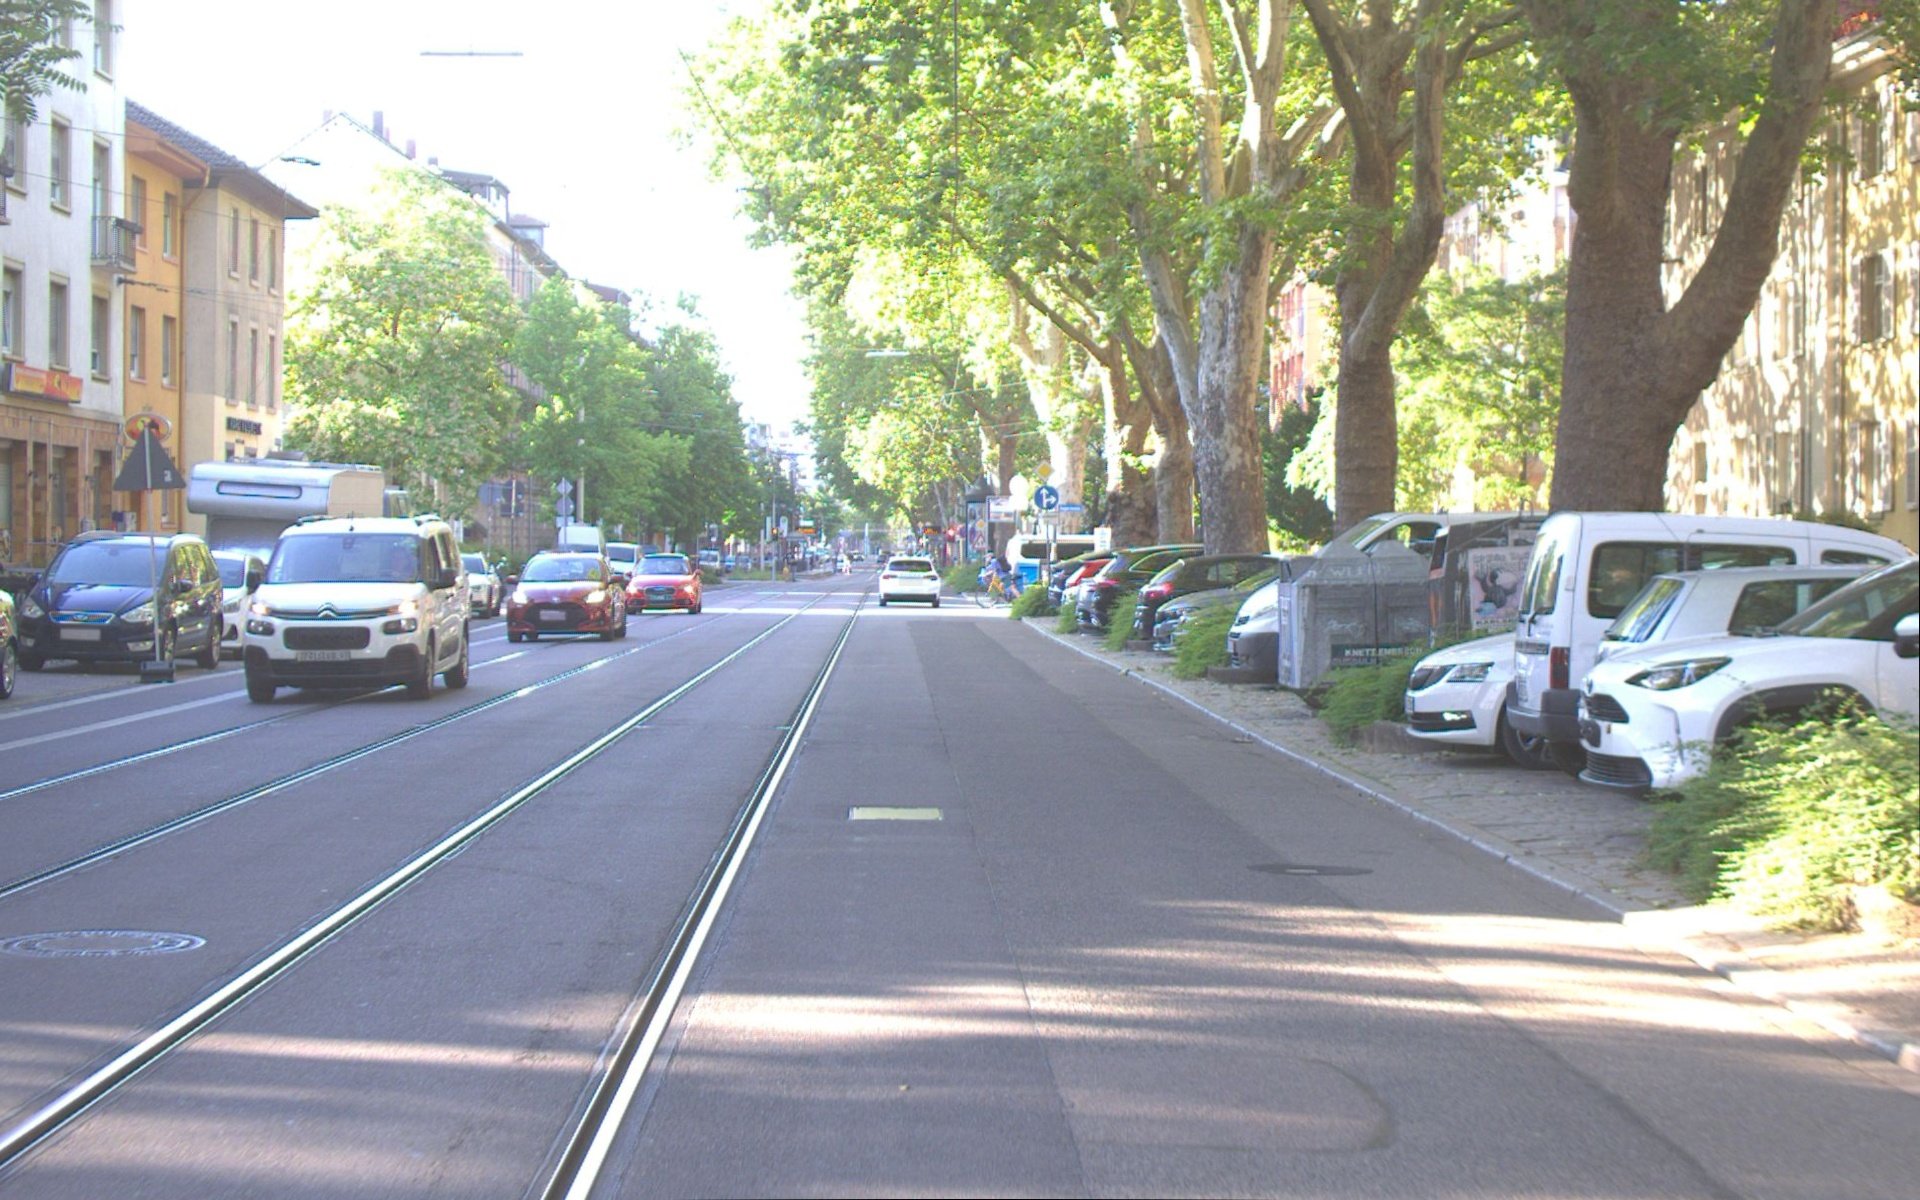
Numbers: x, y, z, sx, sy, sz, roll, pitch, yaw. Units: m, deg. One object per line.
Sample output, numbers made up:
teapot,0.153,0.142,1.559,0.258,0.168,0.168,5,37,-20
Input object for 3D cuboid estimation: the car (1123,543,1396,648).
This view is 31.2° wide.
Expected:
car,4.397,-0.083,50.854,3.838,1.504,1.711,0,1,-1

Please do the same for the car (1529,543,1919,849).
car,5.239,0.484,18.171,4.087,1.516,1.917,0,0,-2

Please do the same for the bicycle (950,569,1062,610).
bicycle,1.260,-0.293,94.523,2.947,1.101,1.052,0,1,-10

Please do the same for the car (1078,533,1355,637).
car,4.259,-0.261,57.485,4.496,1.596,2.027,-1,1,3

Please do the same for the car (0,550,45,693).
car,-10.385,0.197,33.765,1.738,1.396,4.383,2,1,-2

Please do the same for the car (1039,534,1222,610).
car,3.816,-0.630,77.441,3.923,1.664,1.961,0,1,-3

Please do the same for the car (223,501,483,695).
car,-6.093,-0.058,35.025,1.891,1.826,4.896,0,1,-1

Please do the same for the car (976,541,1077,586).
car,2.664,-1.483,138.268,3.987,1.778,2.000,0,1,-1

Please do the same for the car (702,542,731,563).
car,-17.359,-3.398,245.037,1.918,1.414,3.591,-2,0,-6

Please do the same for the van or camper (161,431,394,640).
van or camper,-10.901,-1.034,55.446,2.337,3.030,6.397,4,1,0

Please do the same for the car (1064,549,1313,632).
car,4.086,-0.186,61.963,4.295,1.434,1.948,0,1,-2

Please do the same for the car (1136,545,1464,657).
car,4.598,0.000,46.949,4.247,1.478,1.898,0,1,-1

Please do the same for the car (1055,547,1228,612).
car,3.951,-0.454,75.221,3.650,1.373,1.890,0,1,0

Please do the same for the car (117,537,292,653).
car,-10.748,-0.103,49.124,1.710,1.483,3.862,3,1,-2

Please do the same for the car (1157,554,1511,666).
car,4.741,0.117,44.070,4.397,1.376,1.804,0,1,3

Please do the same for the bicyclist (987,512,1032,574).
bicyclist,1.359,-1.568,94.505,1.045,1.700,1.058,0,1,-10

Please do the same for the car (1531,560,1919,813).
car,5.472,0.493,20.601,3.844,1.428,1.851,0,1,3

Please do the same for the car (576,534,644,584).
car,-13.187,-1.566,129.887,2.173,1.854,4.659,0,1,-1

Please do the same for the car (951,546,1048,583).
car,1.633,-1.491,143.826,3.987,1.515,2.000,0,1,-1

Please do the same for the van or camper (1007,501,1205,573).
van or camper,4.283,-1.866,101.480,5.554,2.006,2.245,0,3,-5

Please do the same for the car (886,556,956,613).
car,-1.126,-0.459,98.333,1.918,1.579,3.791,-1,1,-1

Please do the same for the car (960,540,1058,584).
car,1.997,-1.573,141.523,3.987,1.778,2.000,0,1,-1

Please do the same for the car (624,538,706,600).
car,-7.154,-0.777,83.685,1.723,1.432,4.069,-1,1,-1

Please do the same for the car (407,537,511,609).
car,-11.457,-0.644,78.837,1.836,1.463,5.070,3,1,-3

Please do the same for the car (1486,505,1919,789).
car,5.493,0.283,22.561,3.844,1.766,1.916,0,1,3

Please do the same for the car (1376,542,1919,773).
car,5.243,0.382,24.586,4.371,1.536,1.801,0,2,3

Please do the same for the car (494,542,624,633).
car,-6.737,-0.247,58.091,1.775,1.453,4.203,-1,1,-1

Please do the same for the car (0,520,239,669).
car,-10.519,-0.115,43.231,1.952,1.680,5.071,2,1,-2

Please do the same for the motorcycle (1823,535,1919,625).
motorcycle,14.801,-0.329,54.968,1.803,1.356,0.622,-3,1,-3

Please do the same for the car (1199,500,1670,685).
car,5.189,-0.092,38.050,4.835,1.956,2.065,0,1,-3

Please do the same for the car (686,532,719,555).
car,-15.603,-3.423,208.367,1.918,1.414,3.721,0,1,-4
